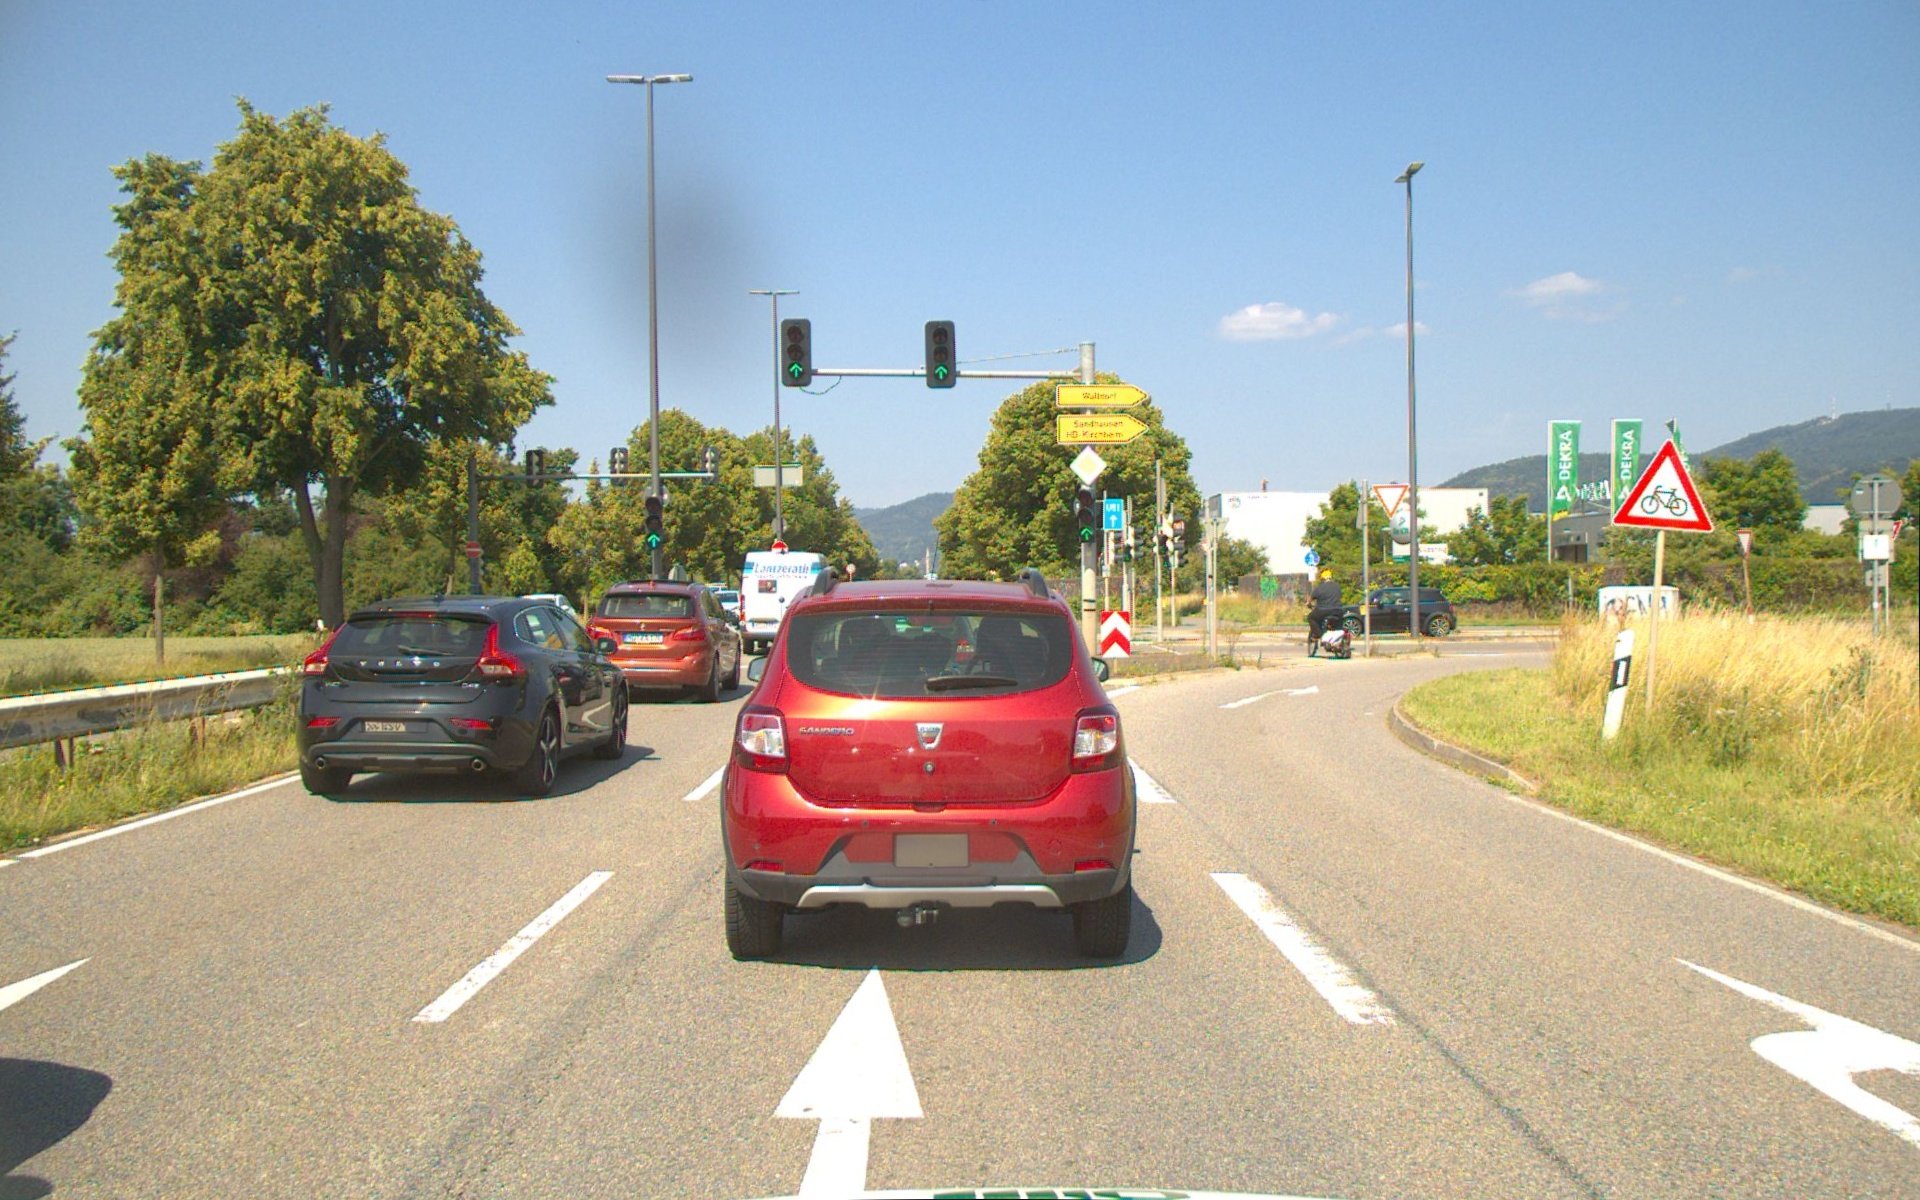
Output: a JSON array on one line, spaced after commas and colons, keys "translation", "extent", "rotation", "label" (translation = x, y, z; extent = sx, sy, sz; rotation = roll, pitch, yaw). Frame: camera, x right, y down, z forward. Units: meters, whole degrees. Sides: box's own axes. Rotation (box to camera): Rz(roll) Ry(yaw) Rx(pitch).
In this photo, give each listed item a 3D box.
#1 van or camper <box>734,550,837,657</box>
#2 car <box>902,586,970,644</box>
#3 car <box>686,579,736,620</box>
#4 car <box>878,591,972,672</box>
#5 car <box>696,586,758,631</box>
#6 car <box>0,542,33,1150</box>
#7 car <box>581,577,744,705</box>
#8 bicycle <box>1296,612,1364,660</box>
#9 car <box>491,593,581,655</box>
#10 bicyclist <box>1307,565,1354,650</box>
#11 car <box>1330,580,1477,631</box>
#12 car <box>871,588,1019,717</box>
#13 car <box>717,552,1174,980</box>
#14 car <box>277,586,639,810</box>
[{"translation": [-4.041, 0.068, 39.028], "extent": [2.136, 2.343, 4.823], "rotation": [1, 0, -3], "label": "van or camper"}, {"translation": [-0.608, 0.377, 44.274], "extent": [1.713, 1.483, 3.677], "rotation": [0, 1, 1], "label": "car"}, {"translation": [-12.846, -0.039, 85.626], "extent": [1.953, 2.015, 5.014], "rotation": [-1, 1, -2], "label": "car"}, {"translation": [-0.629, 0.567, 32.164], "extent": [1.713, 1.483, 3.677], "rotation": [0, 1, 1], "label": "car"}, {"translation": [-9.213, 0.308, 65.564], "extent": [1.953, 1.699, 3.999], "rotation": [-1, 0, -2], "label": "car"}, {"translation": [-3.359, 0.660, 2.542], "extent": [1.688, 1.603, 3.892], "rotation": [0, 1, 0], "label": "car"}, {"translation": [-4.059, 0.501, 23.108], "extent": [1.689, 1.628, 3.954], "rotation": [0, 0, -2], "label": "car"}, {"translation": [7.987, 0.756, 35.837], "extent": [0.746, 0.931, 2.779], "rotation": [-1, 1, -2], "label": "bicycle"}, {"translation": [-12.095, 0.650, 47.367], "extent": [1.711, 1.646, 4.133], "rotation": [-1, 1, -4], "label": "car"}, {"translation": [7.982, 0.152, 35.701], "extent": [0.786, 1.802, 0.808], "rotation": [-1, 0, -2], "label": "bicyclist"}, {"translation": [12.567, 0.151, 47.064], "extent": [3.902, 1.350, 1.808], "rotation": [-1, 1, 10], "label": "car"}, {"translation": [-0.155, 0.600, 20.989], "extent": [1.713, 1.483, 3.677], "rotation": [0, 1, 1], "label": "car"}, {"translation": [-0.033, 0.615, 8.055], "extent": [1.713, 1.603, 3.677], "rotation": [0, 0, 1], "label": "car"}, {"translation": [-3.760, 0.644, 13.108], "extent": [1.667, 1.467, 3.955], "rotation": [1, 1, 0], "label": "car"}]
